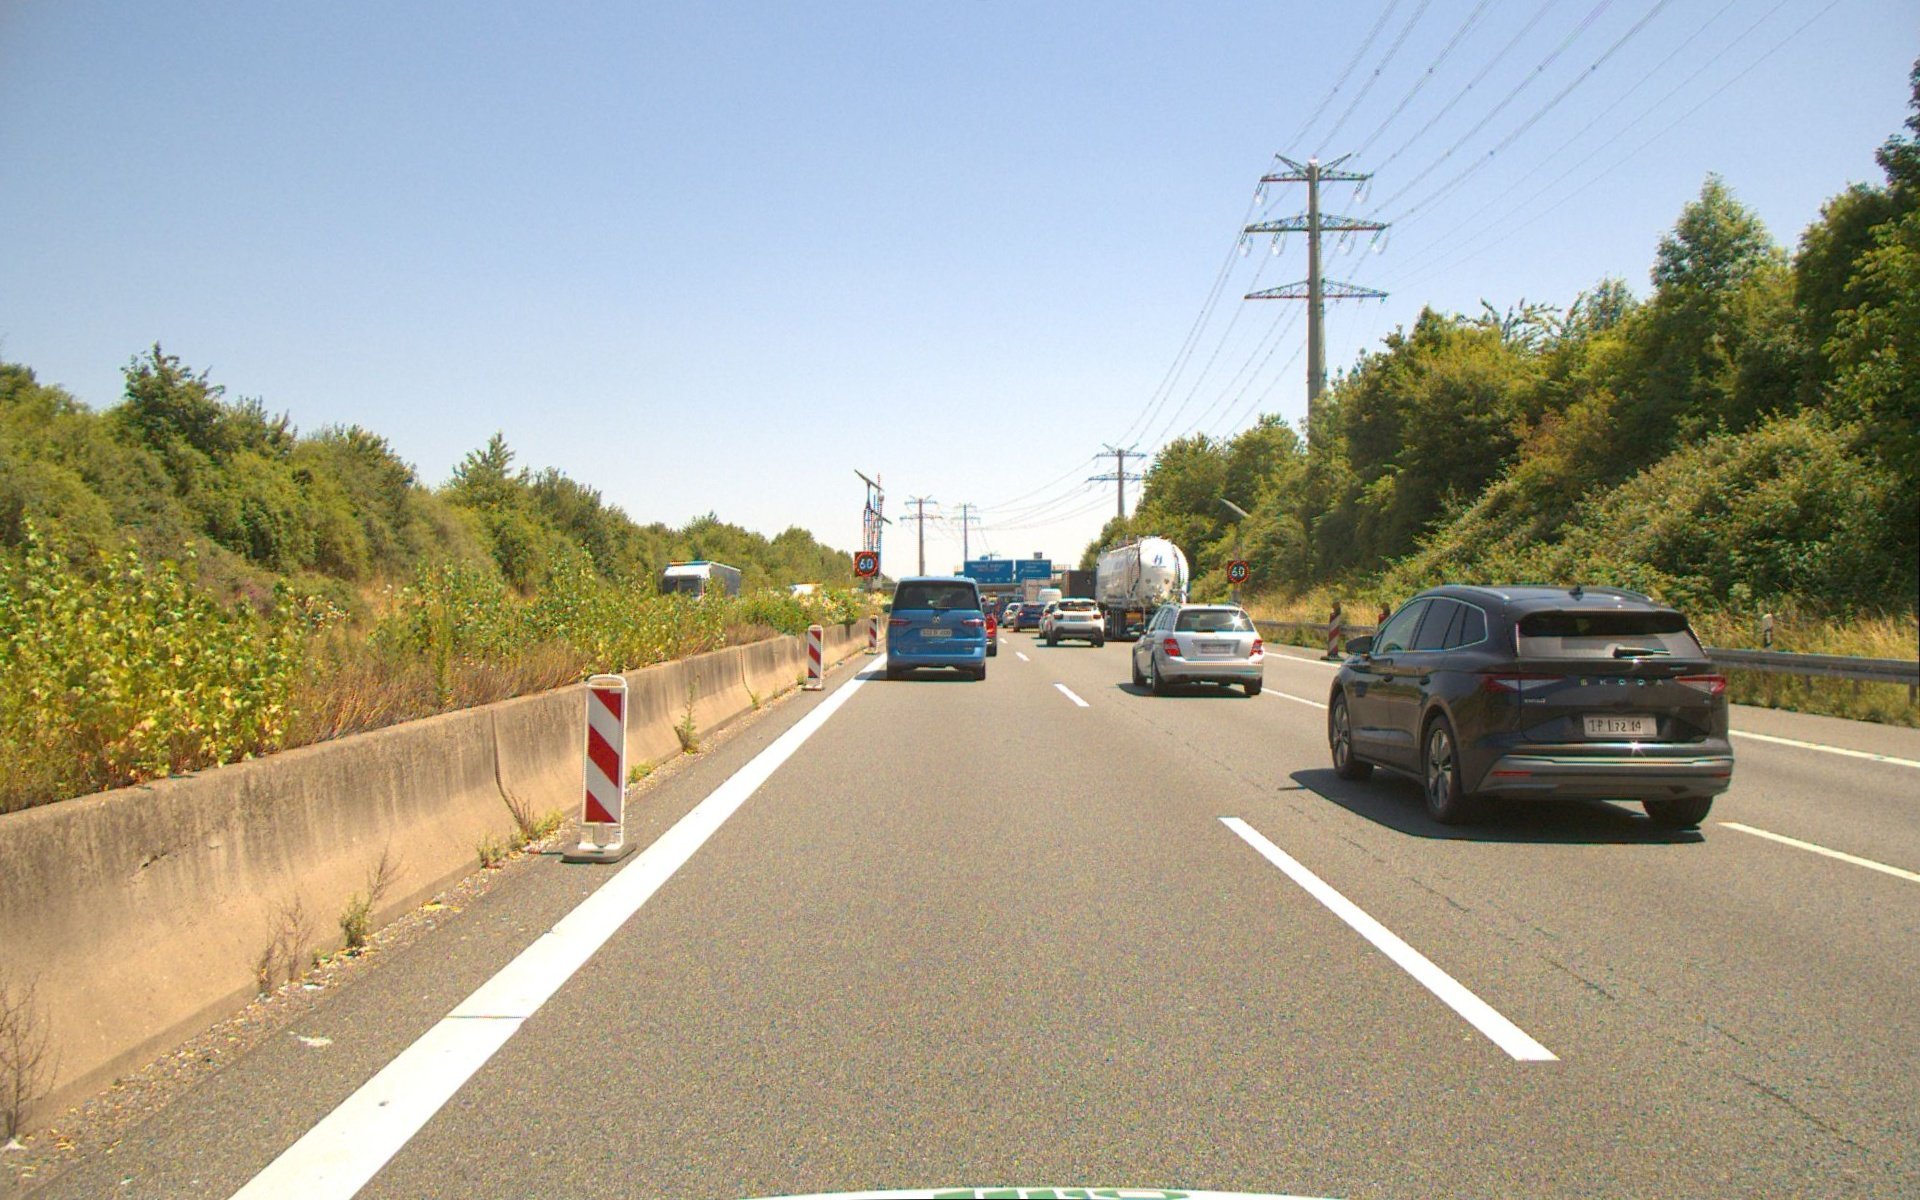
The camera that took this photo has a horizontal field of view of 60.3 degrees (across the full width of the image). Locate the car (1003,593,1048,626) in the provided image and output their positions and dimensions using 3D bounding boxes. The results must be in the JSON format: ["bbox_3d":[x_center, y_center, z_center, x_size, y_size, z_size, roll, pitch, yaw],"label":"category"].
[{"bbox_3d":[3.192,0.459,81.014,1.870,1.542,4.382,1,0,-2],"label":"car"}]

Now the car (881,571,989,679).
[{"bbox_3d":[-0.552,0.451,32.019,1.834,1.912,4.380,1,0,-4],"label":"car"}]

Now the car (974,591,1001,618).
[{"bbox_3d":[2.130,0.379,130.319,1.953,2.049,3.999,1,0,-1],"label":"car"}]

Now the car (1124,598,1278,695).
[{"bbox_3d":[3.927,0.716,27.646,1.784,1.462,4.382,1,0,-2],"label":"car"}]

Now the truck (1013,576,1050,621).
[{"bbox_3d":[7.115,-0.108,166.748,2.878,4.366,12.548,1,0,-1],"label":"truck"}]

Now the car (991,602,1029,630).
[{"bbox_3d":[2.864,0.916,95.403,1.870,1.542,4.382,1,0,-2],"label":"car"}]

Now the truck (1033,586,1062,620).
[{"bbox_3d":[7.232,0.262,137.043,1.953,2.771,5.678,1,0,-1],"label":"truck"}]

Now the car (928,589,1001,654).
[{"bbox_3d":[0.071,0.558,45.011,1.870,1.659,4.382,0,0,-1],"label":"car"}]

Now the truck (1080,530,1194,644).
[{"bbox_3d":[7.107,-0.472,69.007,2.591,4.143,16.436,1,0,-1],"label":"truck"}]

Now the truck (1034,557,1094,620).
[{"bbox_3d":[6.274,-0.650,101.736,2.591,3.600,12.548,1,0,-1],"label":"truck"}]

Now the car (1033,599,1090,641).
[{"bbox_3d":[4.077,0.799,67.138,1.870,1.597,4.382,1,0,-2],"label":"car"}]

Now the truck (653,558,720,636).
[{"bbox_3d":[-15.904,-0.163,96.613,2.695,4.239,6.410,-3,0,-1],"label":"truck"}]

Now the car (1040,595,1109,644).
[{"bbox_3d":[3.760,0.630,54.867,1.870,1.534,3.920,1,0,-2],"label":"car"}]

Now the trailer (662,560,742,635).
[{"bbox_3d":[-15.952,-0.144,103.364,2.697,4.239,14.194,-3,0,-1],"label":"trailer"}]

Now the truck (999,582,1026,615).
[{"bbox_3d":[7.026,-0.181,221.550,2.878,4.366,12.548,1,0,-1],"label":"truck"}]

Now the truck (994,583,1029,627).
[{"bbox_3d":[3.350,0.320,107.781,1.953,2.771,5.678,1,0,-1],"label":"truck"}]

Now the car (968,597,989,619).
[{"bbox_3d":[1.706,0.740,153.382,1.953,2.049,4.000,1,0,0],"label":"car"}]

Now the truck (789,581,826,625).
[{"bbox_3d":[-14.911,0.295,162.554,2.707,3.956,9.028,-3,0,-1],"label":"truck"}]

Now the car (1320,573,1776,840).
[{"bbox_3d":[4.133,0.654,12.470,1.791,1.643,4.430,1,0,-1],"label":"car"}]
